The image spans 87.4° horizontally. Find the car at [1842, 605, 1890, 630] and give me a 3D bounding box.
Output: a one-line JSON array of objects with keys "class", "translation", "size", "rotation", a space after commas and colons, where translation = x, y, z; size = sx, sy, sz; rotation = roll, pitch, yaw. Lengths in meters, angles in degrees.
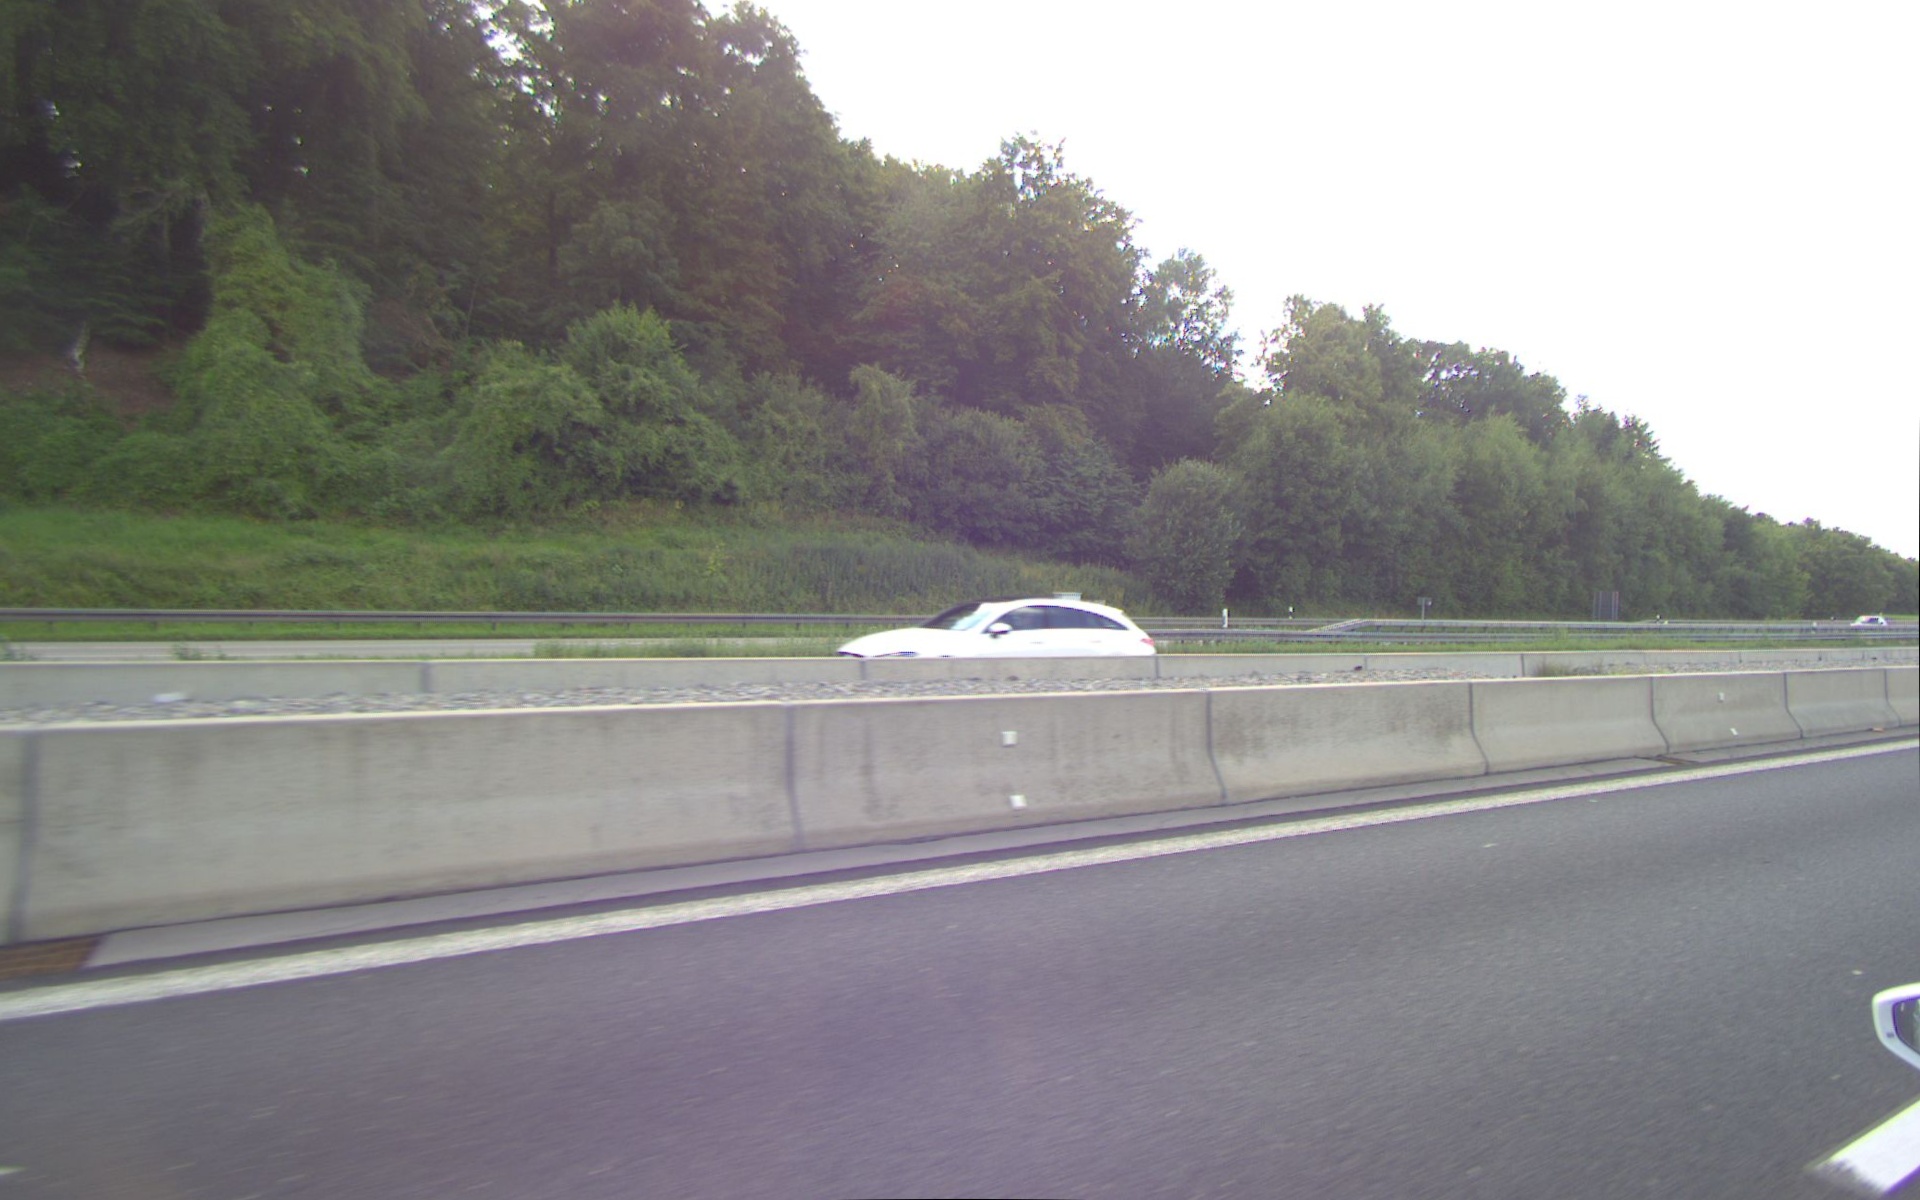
[{"class": "car", "translation": [76.178, 1.474, 84.463], "size": [3.956, 2.040, 1.982], "rotation": [1, 1, -33]}]

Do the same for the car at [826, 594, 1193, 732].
[{"class": "car", "translation": [0.769, 0.788, 13.823], "size": [4.874, 1.602, 1.756], "rotation": [1, 1, -30]}]
